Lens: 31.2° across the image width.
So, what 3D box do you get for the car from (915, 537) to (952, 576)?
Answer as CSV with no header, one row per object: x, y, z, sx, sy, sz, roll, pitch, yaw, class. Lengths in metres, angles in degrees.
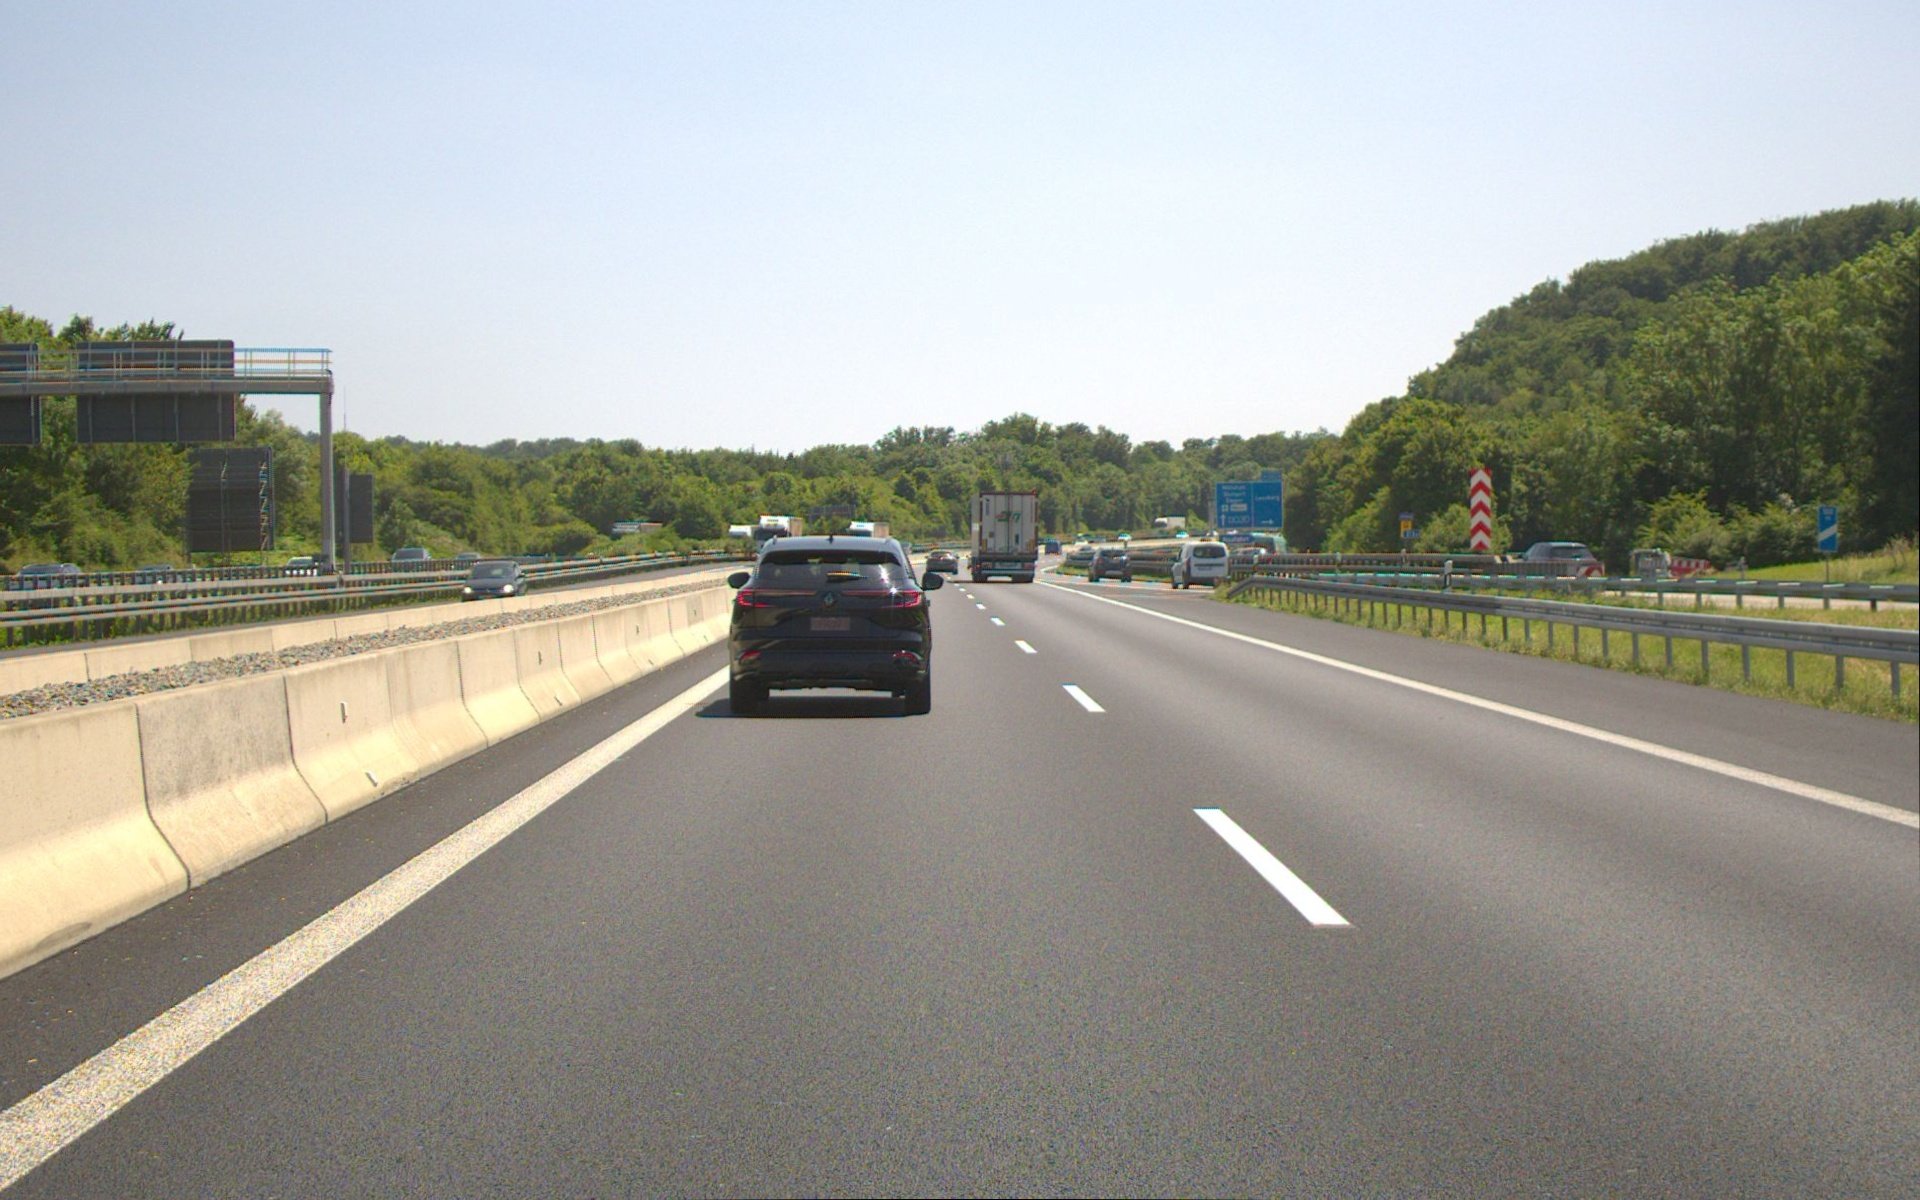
-1.570,-2.552,201.018,2.138,2.209,5.088,1,0,-1,car

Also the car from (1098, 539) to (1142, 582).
7.671,-1.878,164.334,1.994,2.007,4.000,1,0,3,car

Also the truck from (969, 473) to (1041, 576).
2.064,-3.320,155.461,3.032,4.403,12.018,1,0,1,truck

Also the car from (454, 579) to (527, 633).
-13.918,0.149,102.069,1.833,1.529,4.160,1,0,-4,car

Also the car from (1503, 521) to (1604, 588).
18.691,-1.423,108.484,1.993,2.007,4.001,-2,1,-7,car

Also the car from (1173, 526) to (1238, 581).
9.412,-1.779,132.071,1.993,2.007,4.000,-2,1,-2,car

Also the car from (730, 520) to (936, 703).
-1.221,0.083,32.083,1.779,1.572,4.000,1,0,-3,car
